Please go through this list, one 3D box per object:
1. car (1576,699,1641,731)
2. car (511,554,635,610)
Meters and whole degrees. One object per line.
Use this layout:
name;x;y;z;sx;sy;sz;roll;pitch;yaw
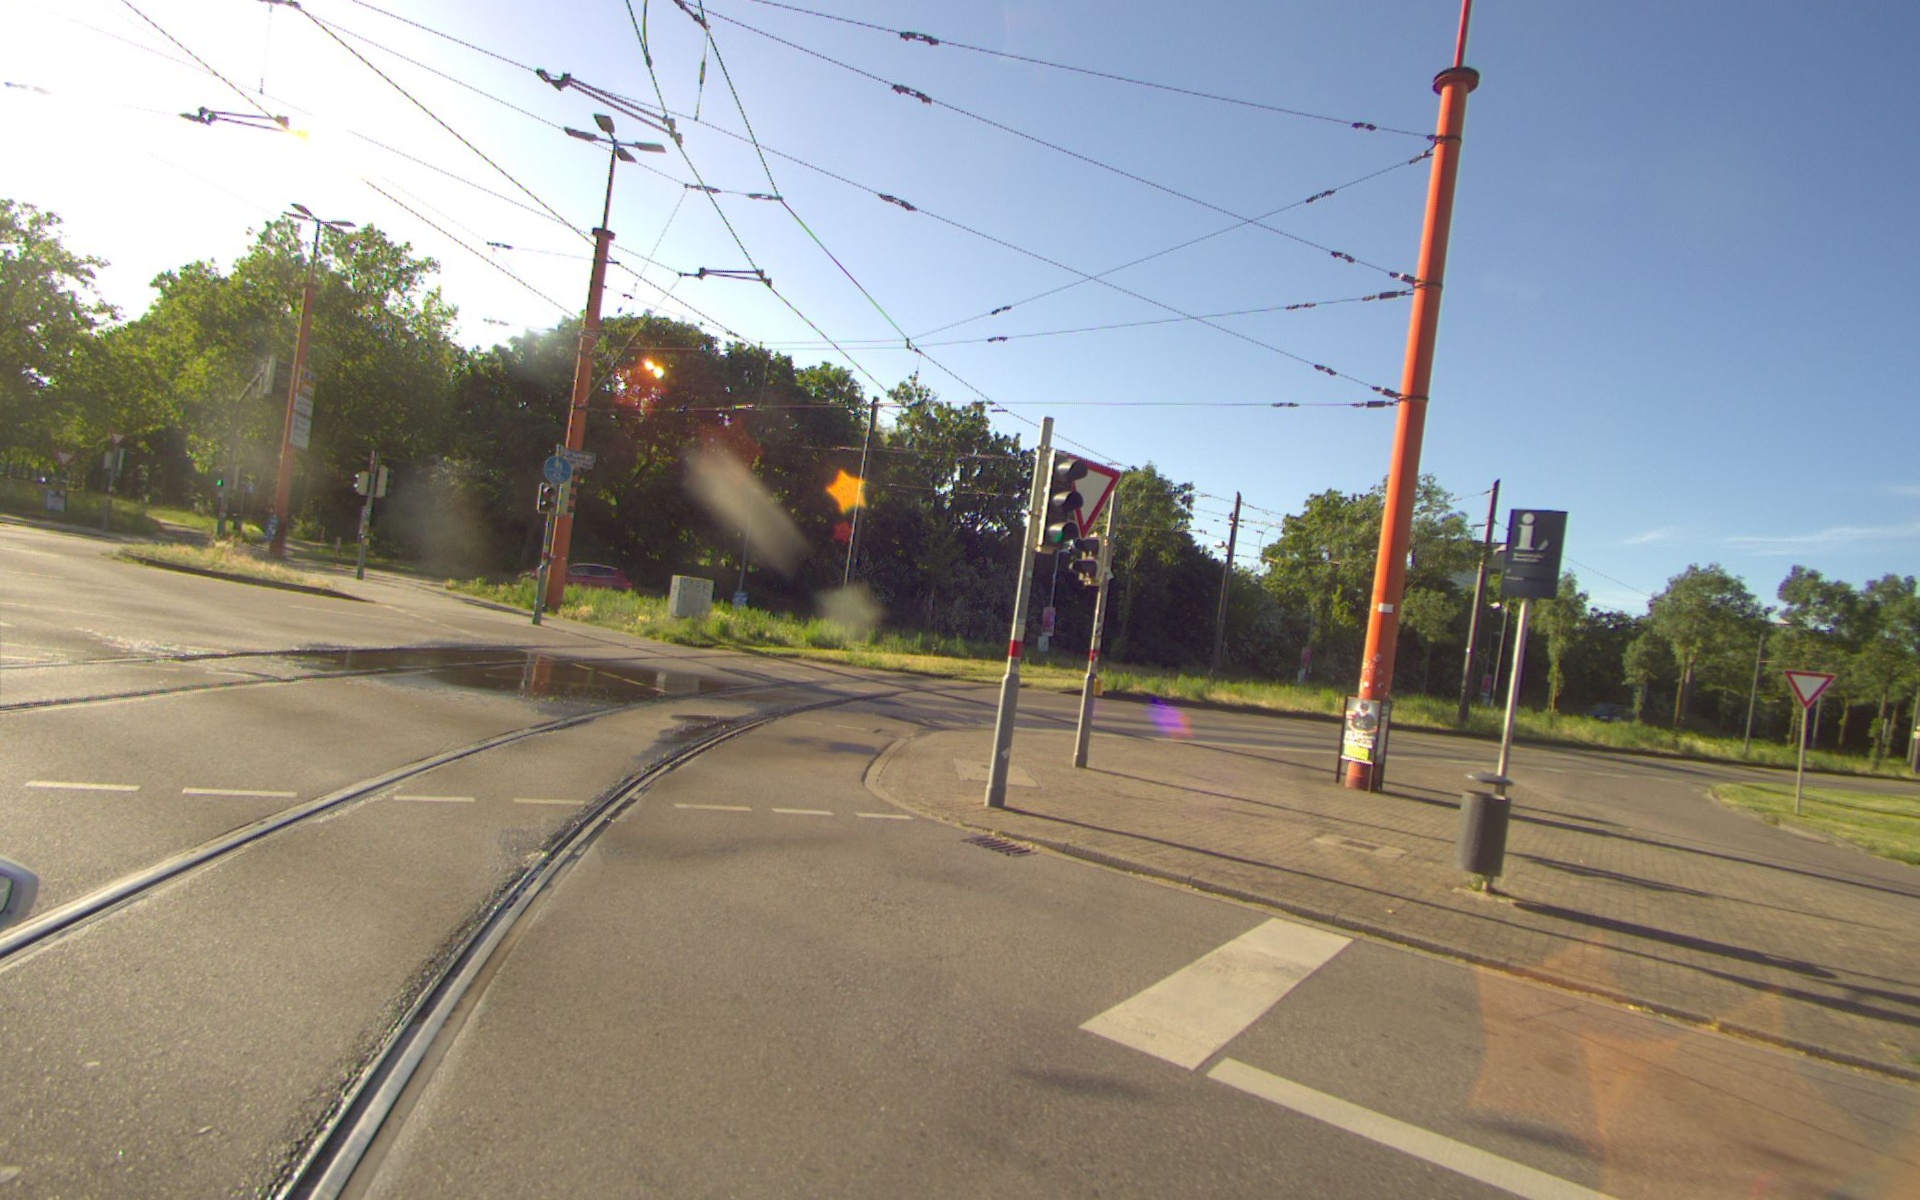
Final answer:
car;49.243;8.720;76.350;4.767;1.752;1.985;9;-1;-29
car;-15.306;-0.713;39.828;4.244;1.513;1.985;9;-1;-29
